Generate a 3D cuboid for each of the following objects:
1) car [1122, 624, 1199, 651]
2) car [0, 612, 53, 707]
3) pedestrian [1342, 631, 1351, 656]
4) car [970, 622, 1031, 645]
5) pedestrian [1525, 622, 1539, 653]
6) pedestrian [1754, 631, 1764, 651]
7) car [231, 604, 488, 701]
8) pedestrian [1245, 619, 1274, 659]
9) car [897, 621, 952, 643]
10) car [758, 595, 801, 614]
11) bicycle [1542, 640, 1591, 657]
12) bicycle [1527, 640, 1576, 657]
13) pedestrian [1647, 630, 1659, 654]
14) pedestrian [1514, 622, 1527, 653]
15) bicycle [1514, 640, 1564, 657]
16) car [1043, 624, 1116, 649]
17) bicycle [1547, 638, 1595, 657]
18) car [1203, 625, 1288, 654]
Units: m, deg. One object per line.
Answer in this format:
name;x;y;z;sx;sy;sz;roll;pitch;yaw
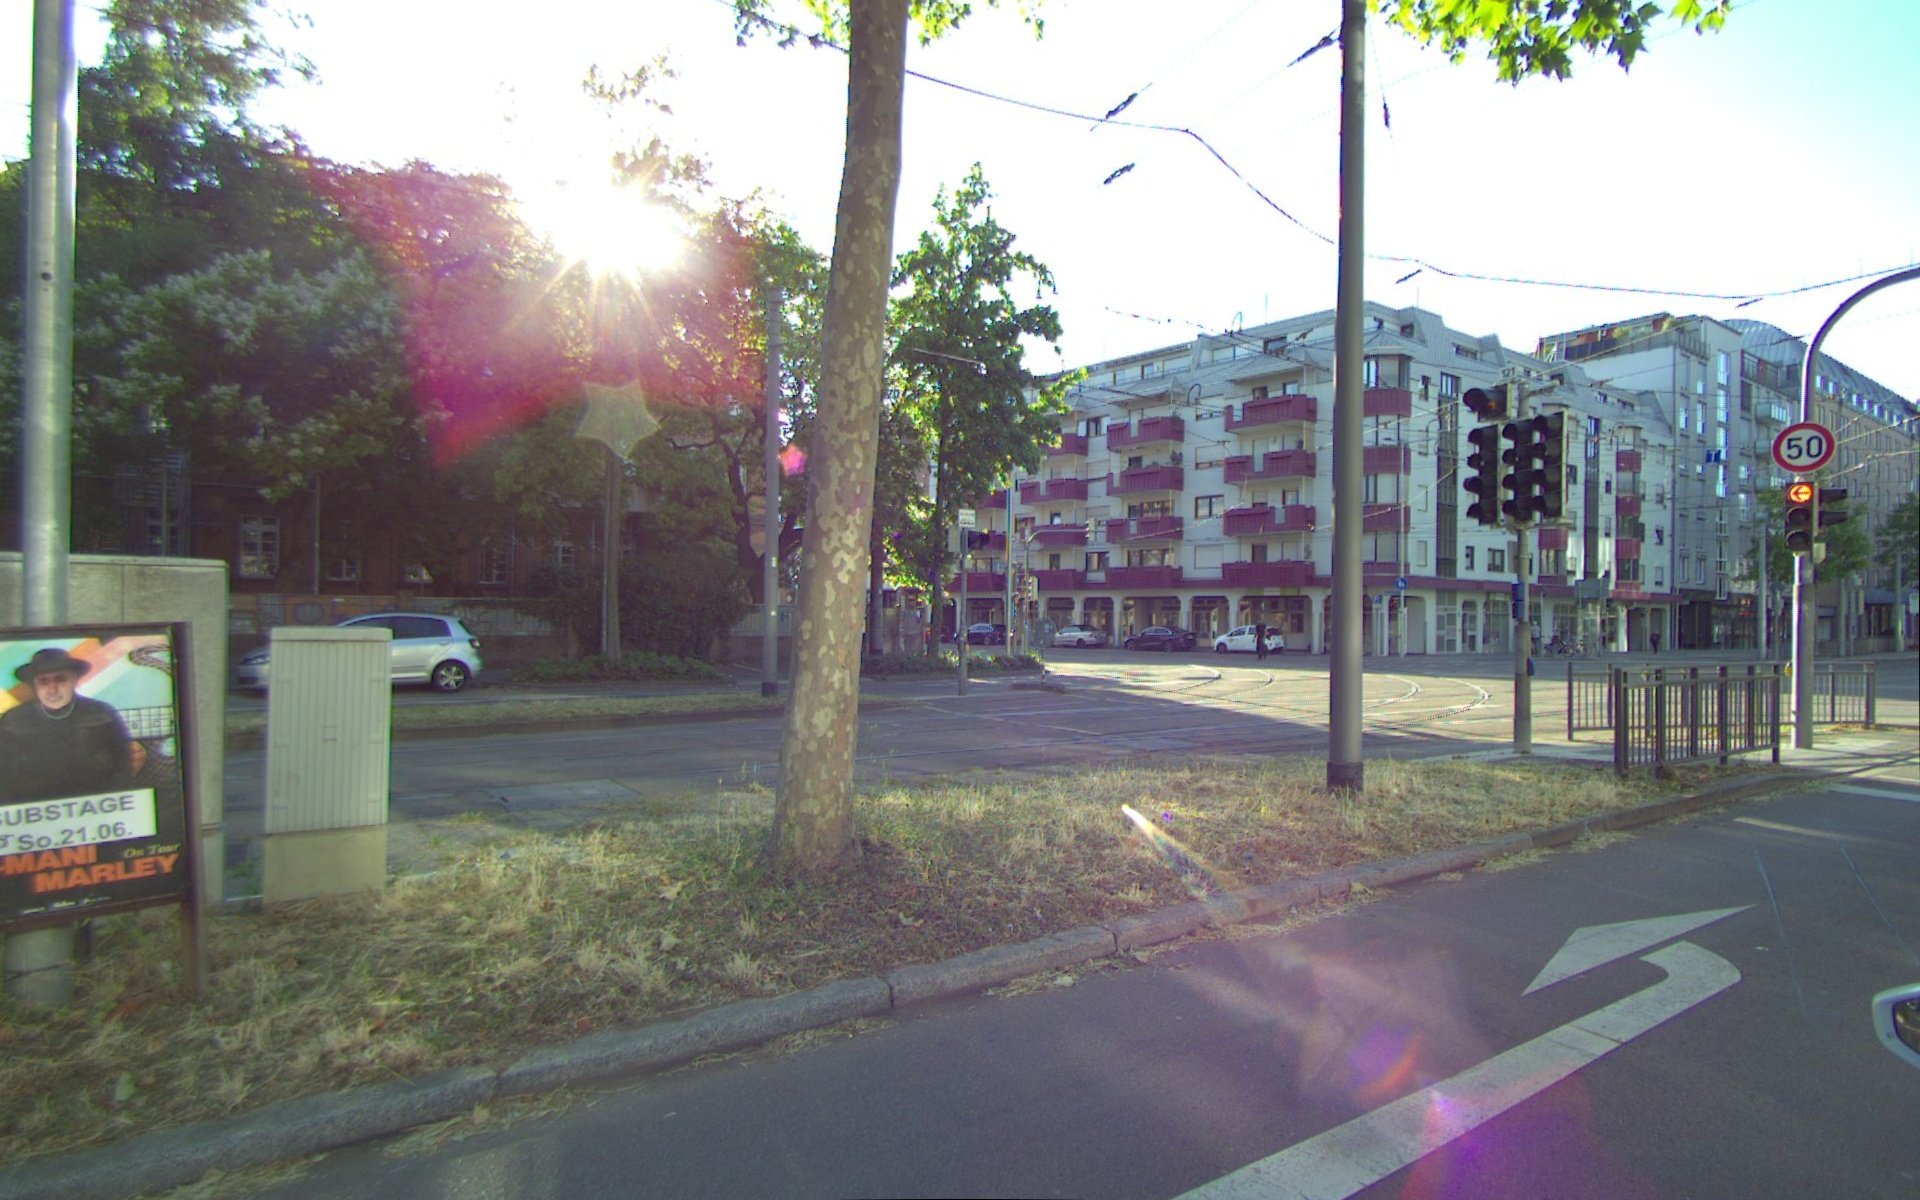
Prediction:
car;11.273;2.113;56.680;3.945;1.483;1.791;-2;-2;44
car;-17.205;0.912;15.474;4.607;1.495;1.979;1;-1;-37
pedestrian;19.209;2.166;49.971;0.316;1.230;0.301;1;-2;-40
car;2.643;2.230;66.394;1.790;1.483;3.948;2;-2;-44
pedestrian;31.719;2.096;55.714;0.523;1.721;0.507;1;-1;-37
pedestrian;60.007;3.061;75.447;0.523;1.478;0.507;1;-1;-37
car;-11.718;0.975;19.691;4.140;1.711;1.979;1;-1;-37
pedestrian;12.576;1.630;42.167;1.025;1.684;0.703;1;-2;-40
car;-2.573;2.301;72.021;1.790;1.483;3.948;2;-2;-44
car;-15.632;0.414;86.876;1.790;1.483;3.948;2;-2;-44
bicycle;31.626;2.507;52.419;0.523;0.835;2.153;1;-2;-37
bicycle;30.456;2.492;51.753;0.487;0.797;2.153;1;-2;-37
pedestrian;43.385;2.650;62.893;0.524;1.478;0.506;1;-1;-42
pedestrian;31.348;2.118;56.183;0.523;1.721;0.507;1;-1;-37
bicycle;29.701;2.473;51.525;0.635;0.797;2.153;1;-2;-37
car;7.240;2.221;61.100;1.790;1.483;4.215;2;-2;-44
bicycle;32.120;2.472;52.827;0.487;0.963;2.153;1;-1;-37
car;15.039;2.082;52.975;3.945;1.483;1.791;-2;-2;44
